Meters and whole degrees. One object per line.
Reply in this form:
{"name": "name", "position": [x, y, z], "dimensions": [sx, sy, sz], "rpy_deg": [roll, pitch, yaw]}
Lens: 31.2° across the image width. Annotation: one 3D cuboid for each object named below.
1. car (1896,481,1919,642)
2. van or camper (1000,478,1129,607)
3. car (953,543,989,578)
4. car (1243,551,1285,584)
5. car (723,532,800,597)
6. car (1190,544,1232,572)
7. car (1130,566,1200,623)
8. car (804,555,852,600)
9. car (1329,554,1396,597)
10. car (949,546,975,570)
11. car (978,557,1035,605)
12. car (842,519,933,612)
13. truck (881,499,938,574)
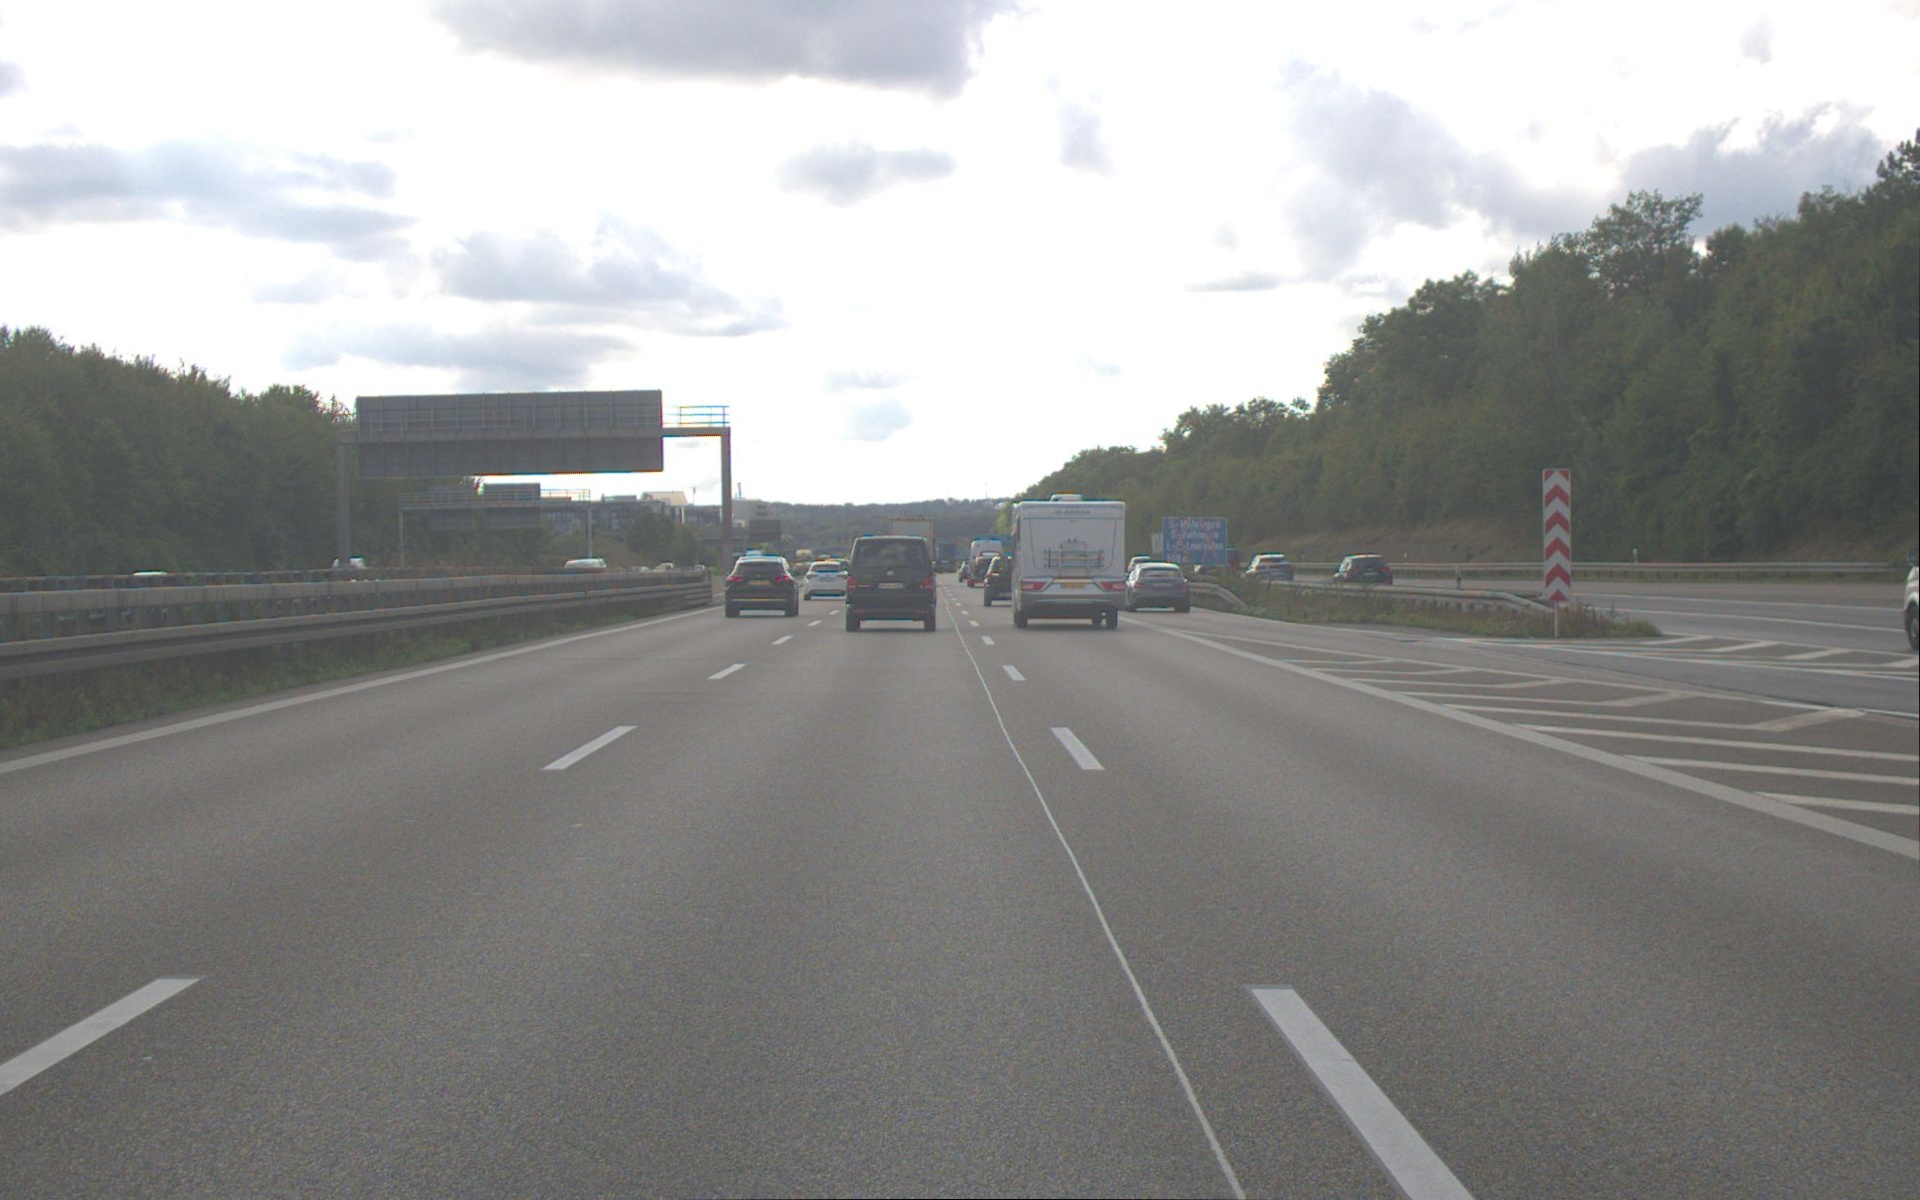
{"name": "car", "position": [16.288, -0.590, 52.124], "dimensions": [2.070, 2.545, 6.743], "rpy_deg": [-1, 1, -2]}
{"name": "van or camper", "position": [2.266, -1.268, 76.923], "dimensions": [2.468, 2.712, 7.662], "rpy_deg": [1, 1, -1]}
{"name": "car", "position": [0.594, -2.212, 191.429], "dimensions": [1.913, 1.912, 4.030], "rpy_deg": [0, 1, -1]}
{"name": "car", "position": [14.339, -1.553, 162.231], "dimensions": [1.541, 1.479, 3.942], "rpy_deg": [-2, 1, -1]}
{"name": "car", "position": [-5.236, -0.933, 91.228], "dimensions": [1.873, 1.692, 4.072], "rpy_deg": [0, 0, -1]}
{"name": "car", "position": [14.463, -2.423, 198.226], "dimensions": [1.843, 1.479, 4.526], "rpy_deg": [-2, 1, -2]}
{"name": "car", "position": [5.956, -0.184, 100.359], "dimensions": [1.697, 1.605, 3.896], "rpy_deg": [0, 1, -2]}
{"name": "car", "position": [-4.811, -0.834, 125.386], "dimensions": [1.697, 1.605, 4.114], "rpy_deg": [0, 1, -2]}
{"name": "car", "position": [15.092, -0.931, 129.095], "dimensions": [1.843, 1.479, 4.526], "rpy_deg": [-2, 1, -1]}
{"name": "car", "position": [0.148, -2.993, 244.834], "dimensions": [1.752, 1.689, 4.190], "rpy_deg": [0, 0, -1]}
{"name": "car", "position": [1.515, -0.644, 113.298], "dimensions": [1.697, 1.559, 4.114], "rpy_deg": [0, 1, -2]}
{"name": "car", "position": [-1.523, -0.729, 72.386], "dimensions": [1.855, 1.904, 4.260], "rpy_deg": [0, 1, -1]}
{"name": "truck", "position": [-3.000, -3.758, 205.706], "dimensions": [3.263, 4.360, 11.026], "rpy_deg": [1, 1, 0]}
